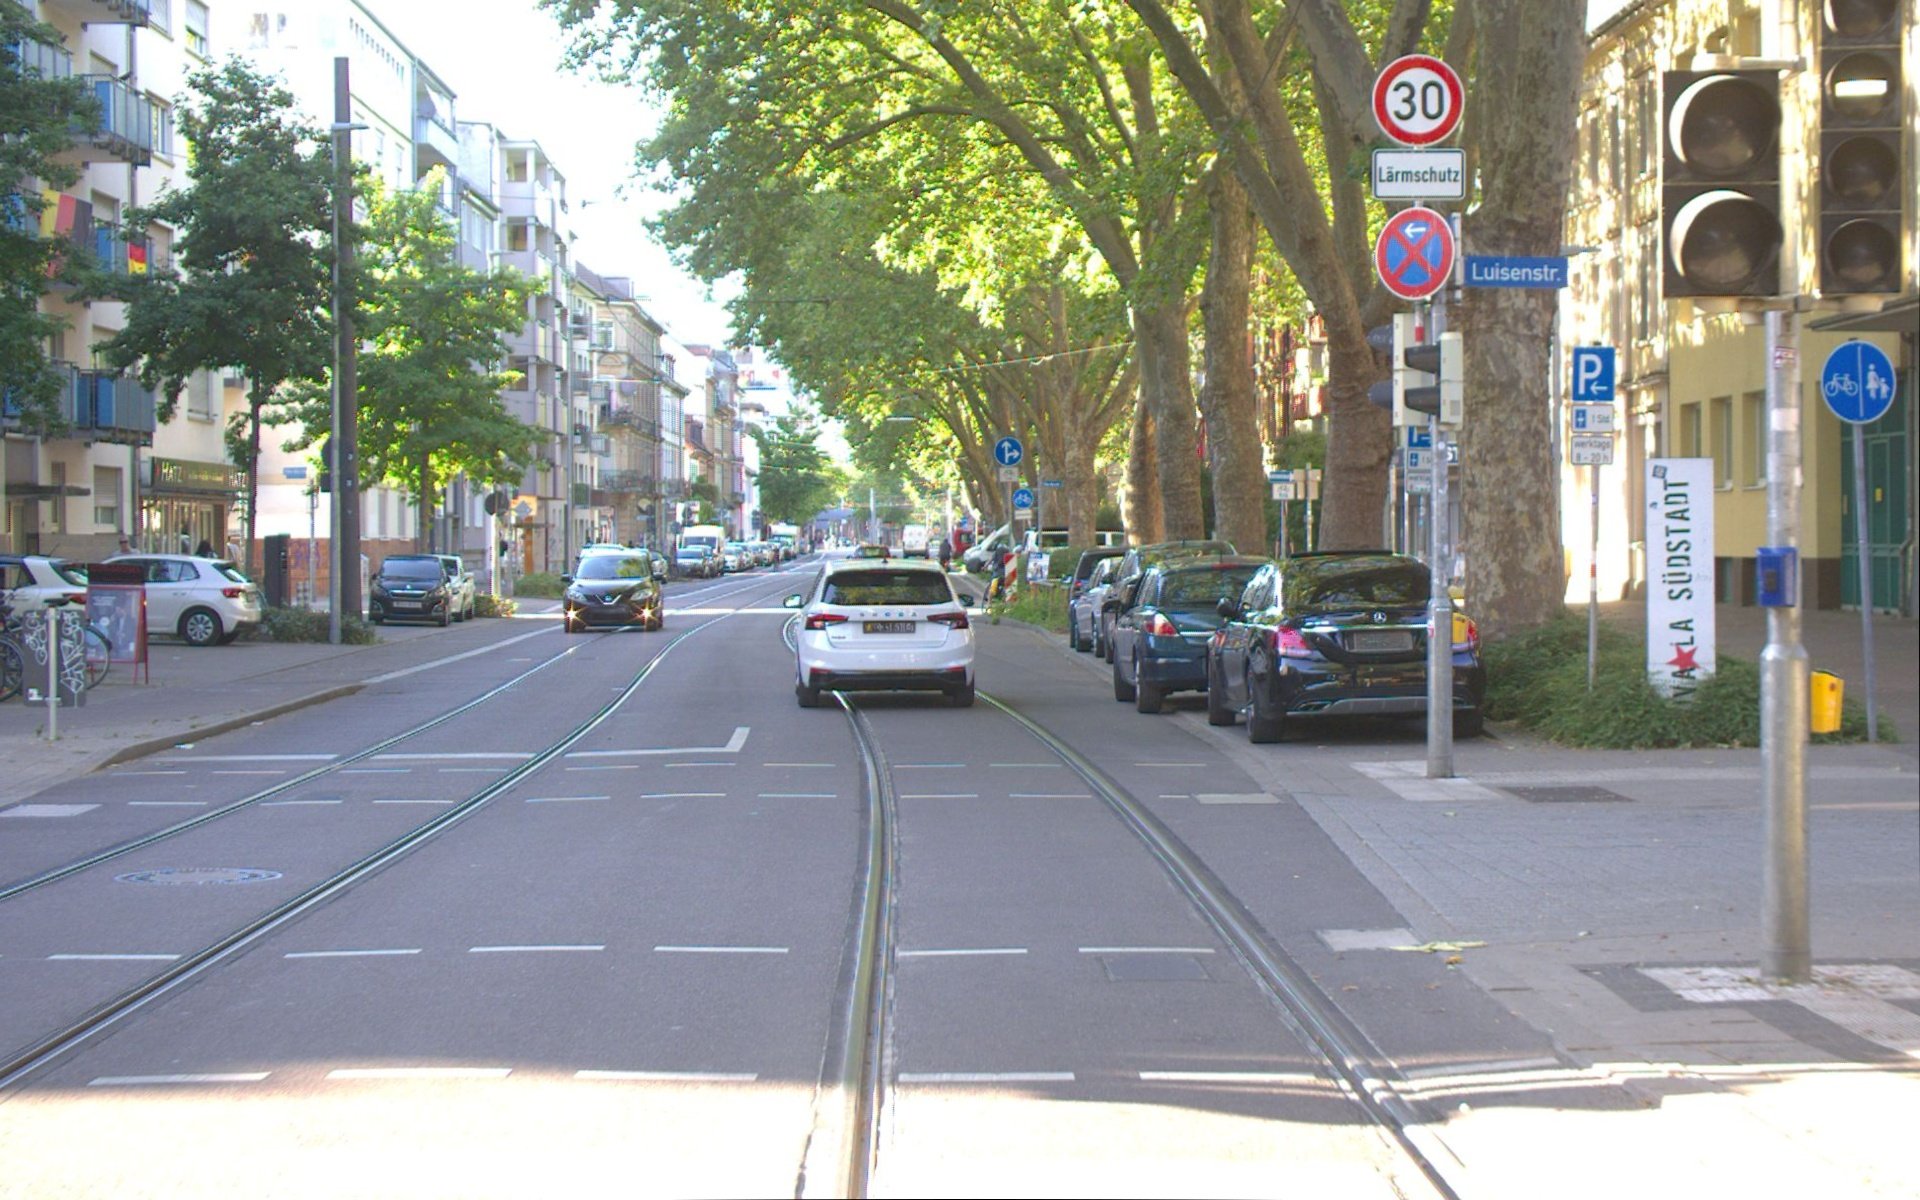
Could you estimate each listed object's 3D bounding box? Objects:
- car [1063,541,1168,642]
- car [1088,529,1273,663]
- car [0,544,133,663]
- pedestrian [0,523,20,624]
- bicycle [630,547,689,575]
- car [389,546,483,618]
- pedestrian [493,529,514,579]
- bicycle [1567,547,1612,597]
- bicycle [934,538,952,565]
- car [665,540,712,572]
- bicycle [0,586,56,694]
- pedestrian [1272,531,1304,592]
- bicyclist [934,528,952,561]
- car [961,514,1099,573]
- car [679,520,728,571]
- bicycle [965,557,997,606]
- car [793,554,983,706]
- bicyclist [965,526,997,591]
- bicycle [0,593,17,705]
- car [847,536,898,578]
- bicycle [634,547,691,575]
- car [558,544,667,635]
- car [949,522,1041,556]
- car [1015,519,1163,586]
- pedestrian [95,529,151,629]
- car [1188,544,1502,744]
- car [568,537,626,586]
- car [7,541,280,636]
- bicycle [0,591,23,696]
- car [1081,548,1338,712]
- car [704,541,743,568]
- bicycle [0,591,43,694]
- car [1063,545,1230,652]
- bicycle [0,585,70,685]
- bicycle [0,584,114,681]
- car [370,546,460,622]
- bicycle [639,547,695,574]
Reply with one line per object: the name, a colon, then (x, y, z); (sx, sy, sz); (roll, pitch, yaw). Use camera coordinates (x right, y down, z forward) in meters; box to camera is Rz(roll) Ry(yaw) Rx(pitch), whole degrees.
car: (2.455, -0.142, 54.718); (1.564, 1.514, 2.910); (-2, 0, 1)
car: (2.809, -0.054, 44.728); (1.857, 1.598, 4.782); (-2, 0, -2)
car: (-12.762, 0.020, 43.781); (4.012, 1.470, 1.852); (1, 0, 0)
pedestrian: (-16.230, -0.443, 57.779); (0.663, 1.685, 0.749); (0, 1, -2)
bicycle: (-13.456, -1.747, 154.016); (2.525, 1.168, 0.883); (2, -1, -40)
car: (-11.665, -0.419, 76.701); (1.713, 1.459, 4.378); (3, 0, -5)
pedestrian: (-16.622, -1.688, 125.067); (0.663, 1.820, 0.965); (0, 1, -2)
bicycle: (14.289, -0.634, 78.101); (0.582, 1.100, 1.923); (-2, 1, -1)
bicycle: (-0.673, -1.941, 137.365); (0.649, 1.067, 1.583); (-1, 1, -3)
car: (-13.120, -2.130, 166.047); (1.993, 1.525, 4.000); (0, 1, -1)
bicycle: (-10.010, 0.391, 34.304); (1.829, 1.060, 0.658); (1, 0, -5)
pedestrian: (10.220, -1.207, 107.229); (0.766, 1.860, 1.189); (-1, 1, -4)
bicyclist: (-0.682, -2.221, 137.373); (0.649, 1.339, 0.934); (-1, 1, -3)
car: (3.164, -2.571, 156.290); (6.129, 2.626, 2.529); (0, 1, -2)
car: (-13.247, -2.822, 177.763); (2.178, 2.588, 4.949); (0, 1, -1)
bicycle: (0.468, -0.423, 76.864); (0.681, 1.067, 1.781); (-1, 1, 0)
car: (-0.751, 0.255, 34.161); (1.761, 1.379, 4.001); (-1, 1, -2)
bicyclist: (0.464, -0.926, 76.823); (0.678, 1.438, 1.047); (-1, 1, 0)
bicycle: (-9.547, 0.435, 31.443); (1.690, 1.003, 0.658); (1, 0, -5)
car: (-3.184, -1.587, 125.062); (1.761, 1.470, 4.000); (-1, 1, 0)
bicycle: (-13.408, -1.758, 154.899); (2.524, 1.168, 0.719); (2, -1, -7)
car: (-6.593, -0.225, 65.487); (1.871, 1.584, 4.147); (2, 1, -4)
car: (2.358, -4.159, 235.123); (6.129, 2.274, 2.529); (0, 1, -2)
car: (4.090, -1.517, 109.309); (4.543, 2.069, 2.001); (0, 1, -3)
pedestrian: (-14.098, -0.357, 57.921); (0.763, 1.685, 0.795); (0, 1, -2)
car: (3.002, 0.279, 27.806); (1.764, 1.457, 5.013); (0, 1, -2)
car: (-12.790, -1.367, 121.235); (1.702, 1.645, 4.242); (2, 1, -3)
car: (-13.126, -0.188, 55.449); (4.012, 1.470, 1.852); (1, 0, -3)
bicycle: (-10.091, 0.411, 33.358); (1.829, 1.003, 0.658); (1, 0, -5)
car: (2.354, 0.240, 33.447); (1.864, 1.432, 4.227); (-1, 1, -4)
car: (-13.634, -2.640, 198.096); (1.993, 1.525, 4.000); (0, 1, -1)
bicycle: (-10.069, 0.406, 34.005); (1.829, 1.003, 0.658); (1, 0, -5)
car: (2.664, -0.026, 50.182); (1.816, 1.431, 4.604); (-2, 0, -4)
bicycle: (-10.092, 0.345, 35.136); (1.829, 1.003, 0.658); (1, 0, -5)
bicycle: (-9.893, 0.335, 36.491); (1.690, 1.003, 0.658); (1, 0, -5)
car: (-11.374, -0.363, 71.917); (1.713, 1.459, 4.001); (3, 0, -8)
bicycle: (-13.504, -1.820, 158.676); (2.524, 1.168, 0.719); (2, -1, -7)
